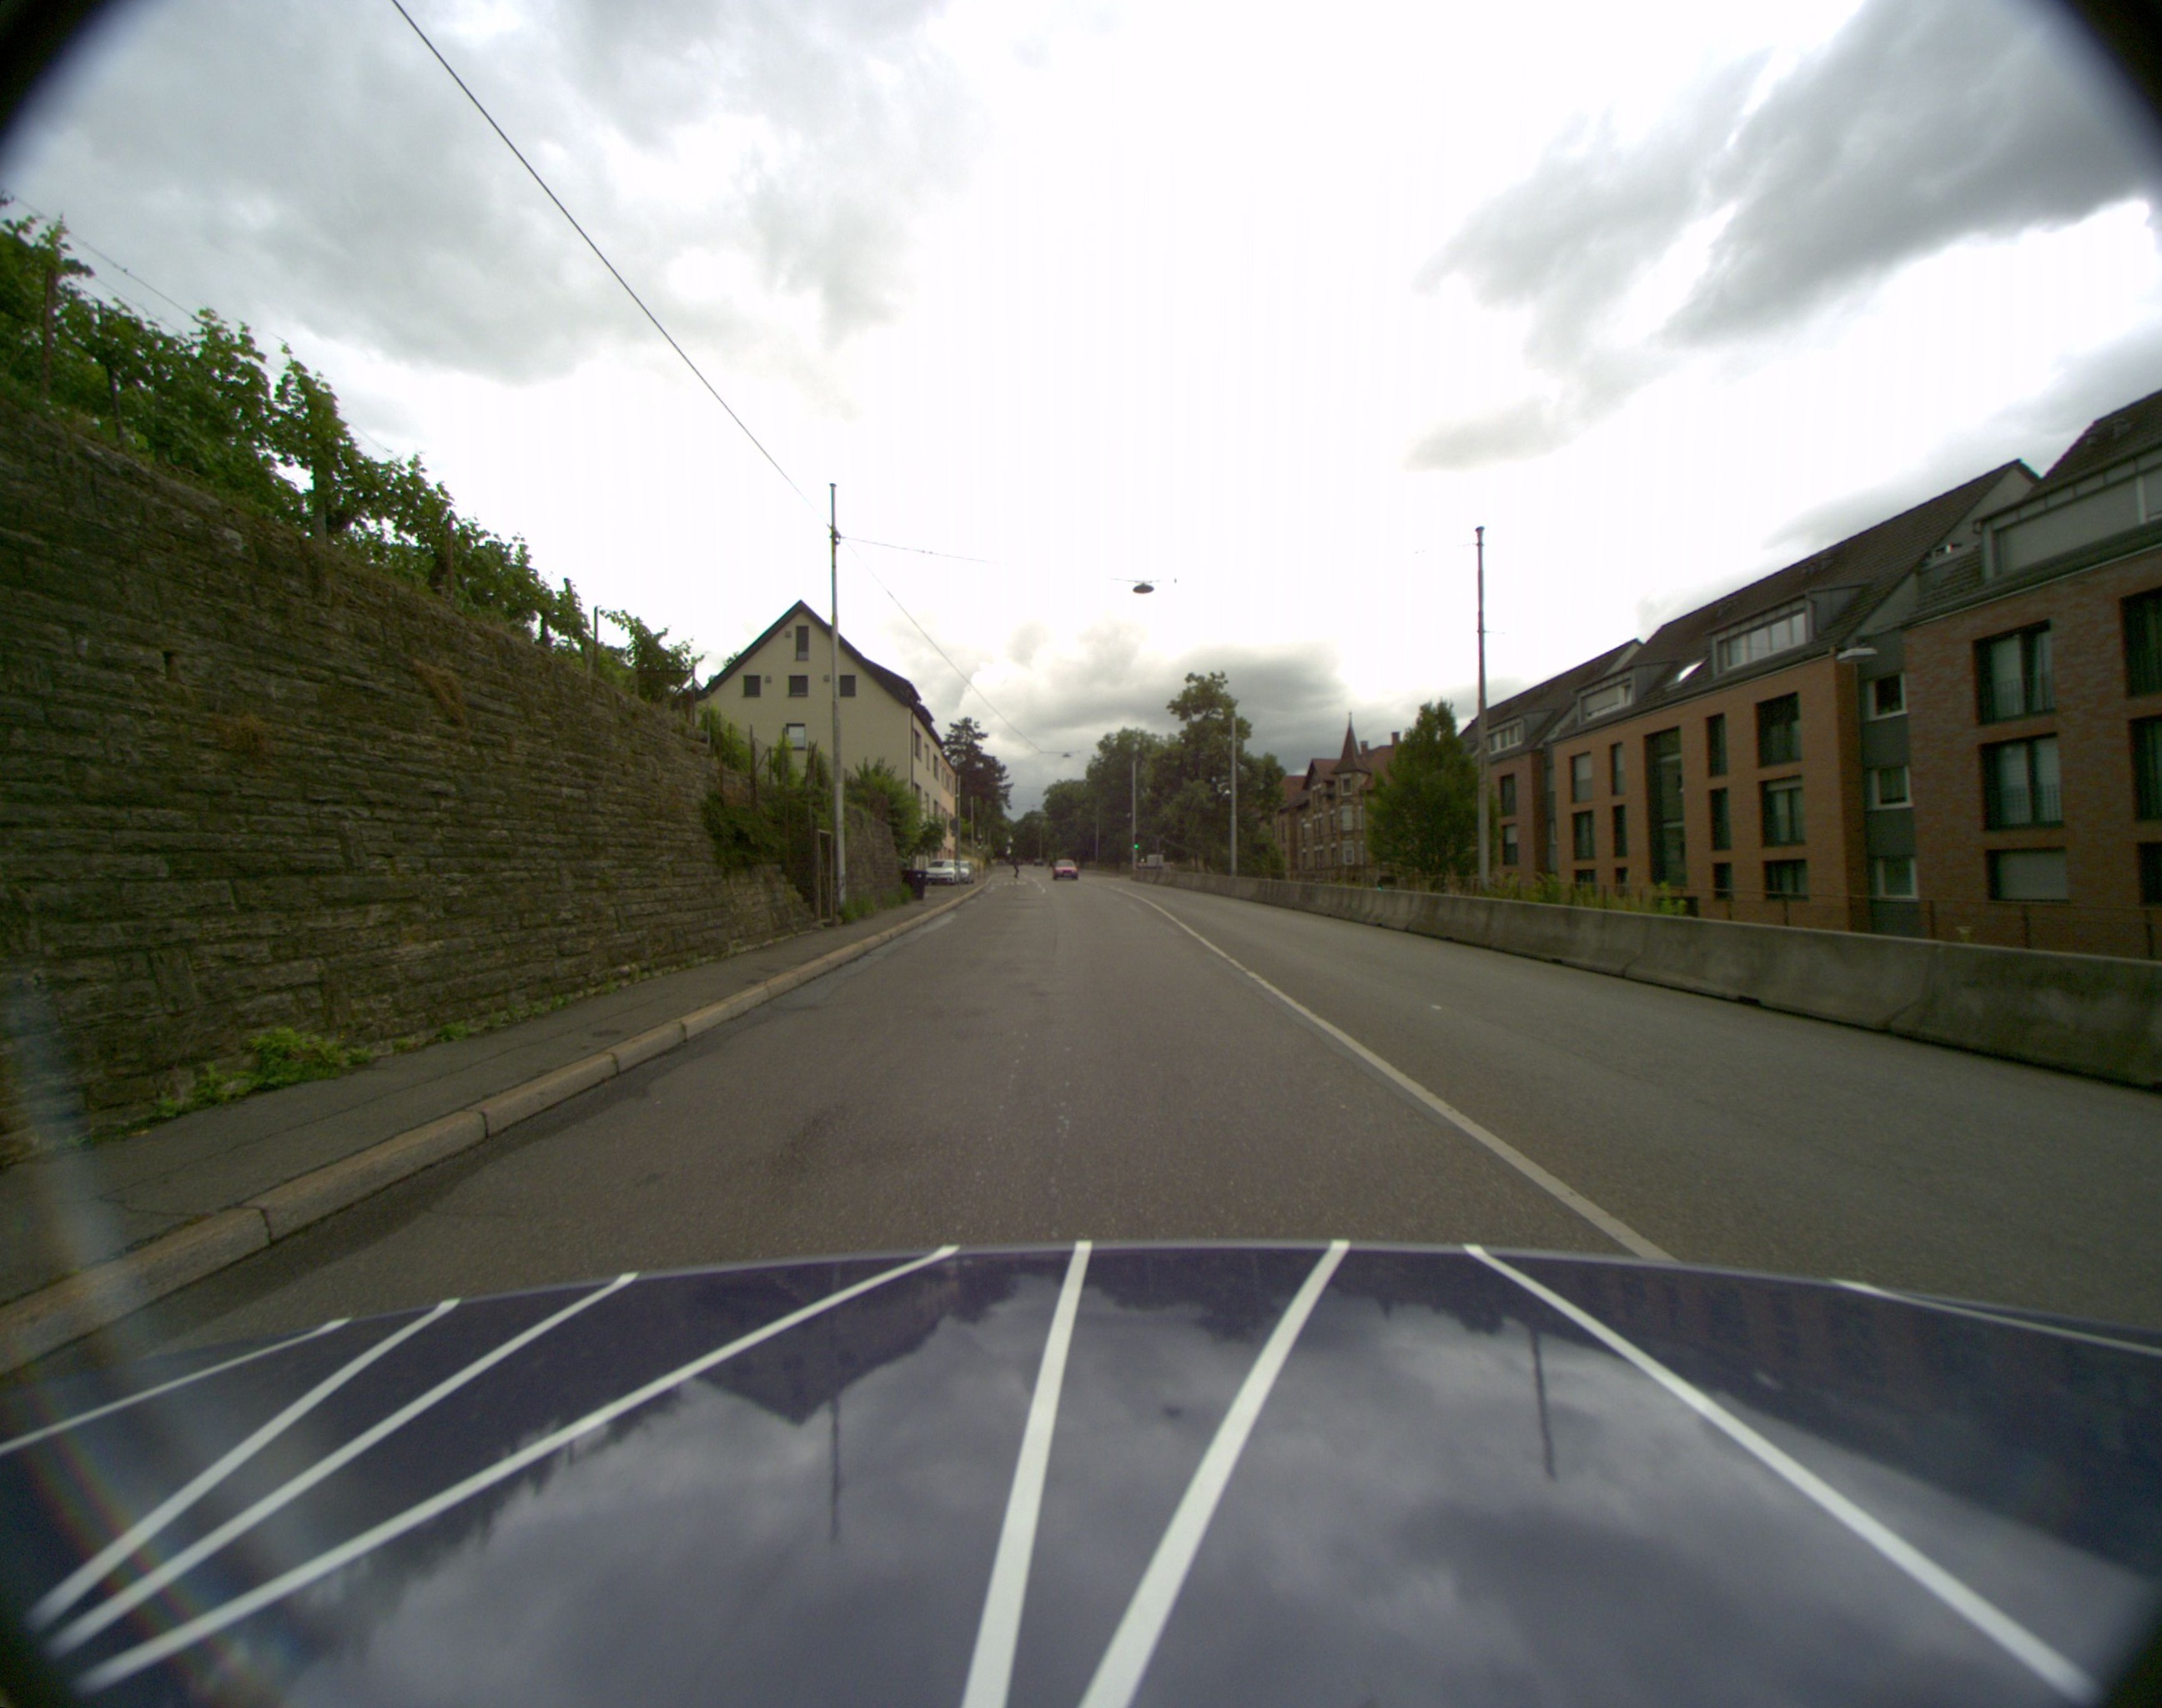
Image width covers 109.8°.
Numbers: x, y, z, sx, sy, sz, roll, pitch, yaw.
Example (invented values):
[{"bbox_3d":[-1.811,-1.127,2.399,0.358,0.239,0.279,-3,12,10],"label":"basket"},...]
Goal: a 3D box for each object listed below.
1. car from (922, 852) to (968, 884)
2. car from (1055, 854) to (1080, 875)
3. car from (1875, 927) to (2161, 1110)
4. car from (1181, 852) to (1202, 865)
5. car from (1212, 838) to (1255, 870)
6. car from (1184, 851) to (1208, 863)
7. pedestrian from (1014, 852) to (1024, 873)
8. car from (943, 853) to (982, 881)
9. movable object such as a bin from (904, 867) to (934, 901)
[{"bbox_3d":[-7.558,0.749,42.538,1.799,1.566,4.054,-2,1,-1],"label":"car"},{"bbox_3d":[-0.979,0.779,54.872,1.646,1.429,3.999,-1,-1,-3],"label":"car"},{"bbox_3d":[11.347,1.739,8.089,1.538,1.505,3.999,-2,0,-1],"label":"car"},{"bbox_3d":[13.931,0.516,96.067,1.999,1.543,4.000,-1,0,0],"label":"car"},{"bbox_3d":[12.875,-0.046,64.522,2.565,2.567,5.735,-2,1,2],"label":"car"},{"bbox_3d":[12.833,0.312,85.022,1.999,1.346,4.000,0,0,0],"label":"car"},{"bbox_3d":[-5.075,0.707,62.153,0.735,1.702,0.696,-1,1,2],"label":"pedestrian"},{"bbox_3d":[-7.342,0.777,47.448,1.732,1.566,4.248,-2,1,-1],"label":"car"},{"bbox_3d":[-5.535,1.018,25.975,0.811,1.120,0.874,-1,1,-2],"label":"movable object such as a bin"}]
